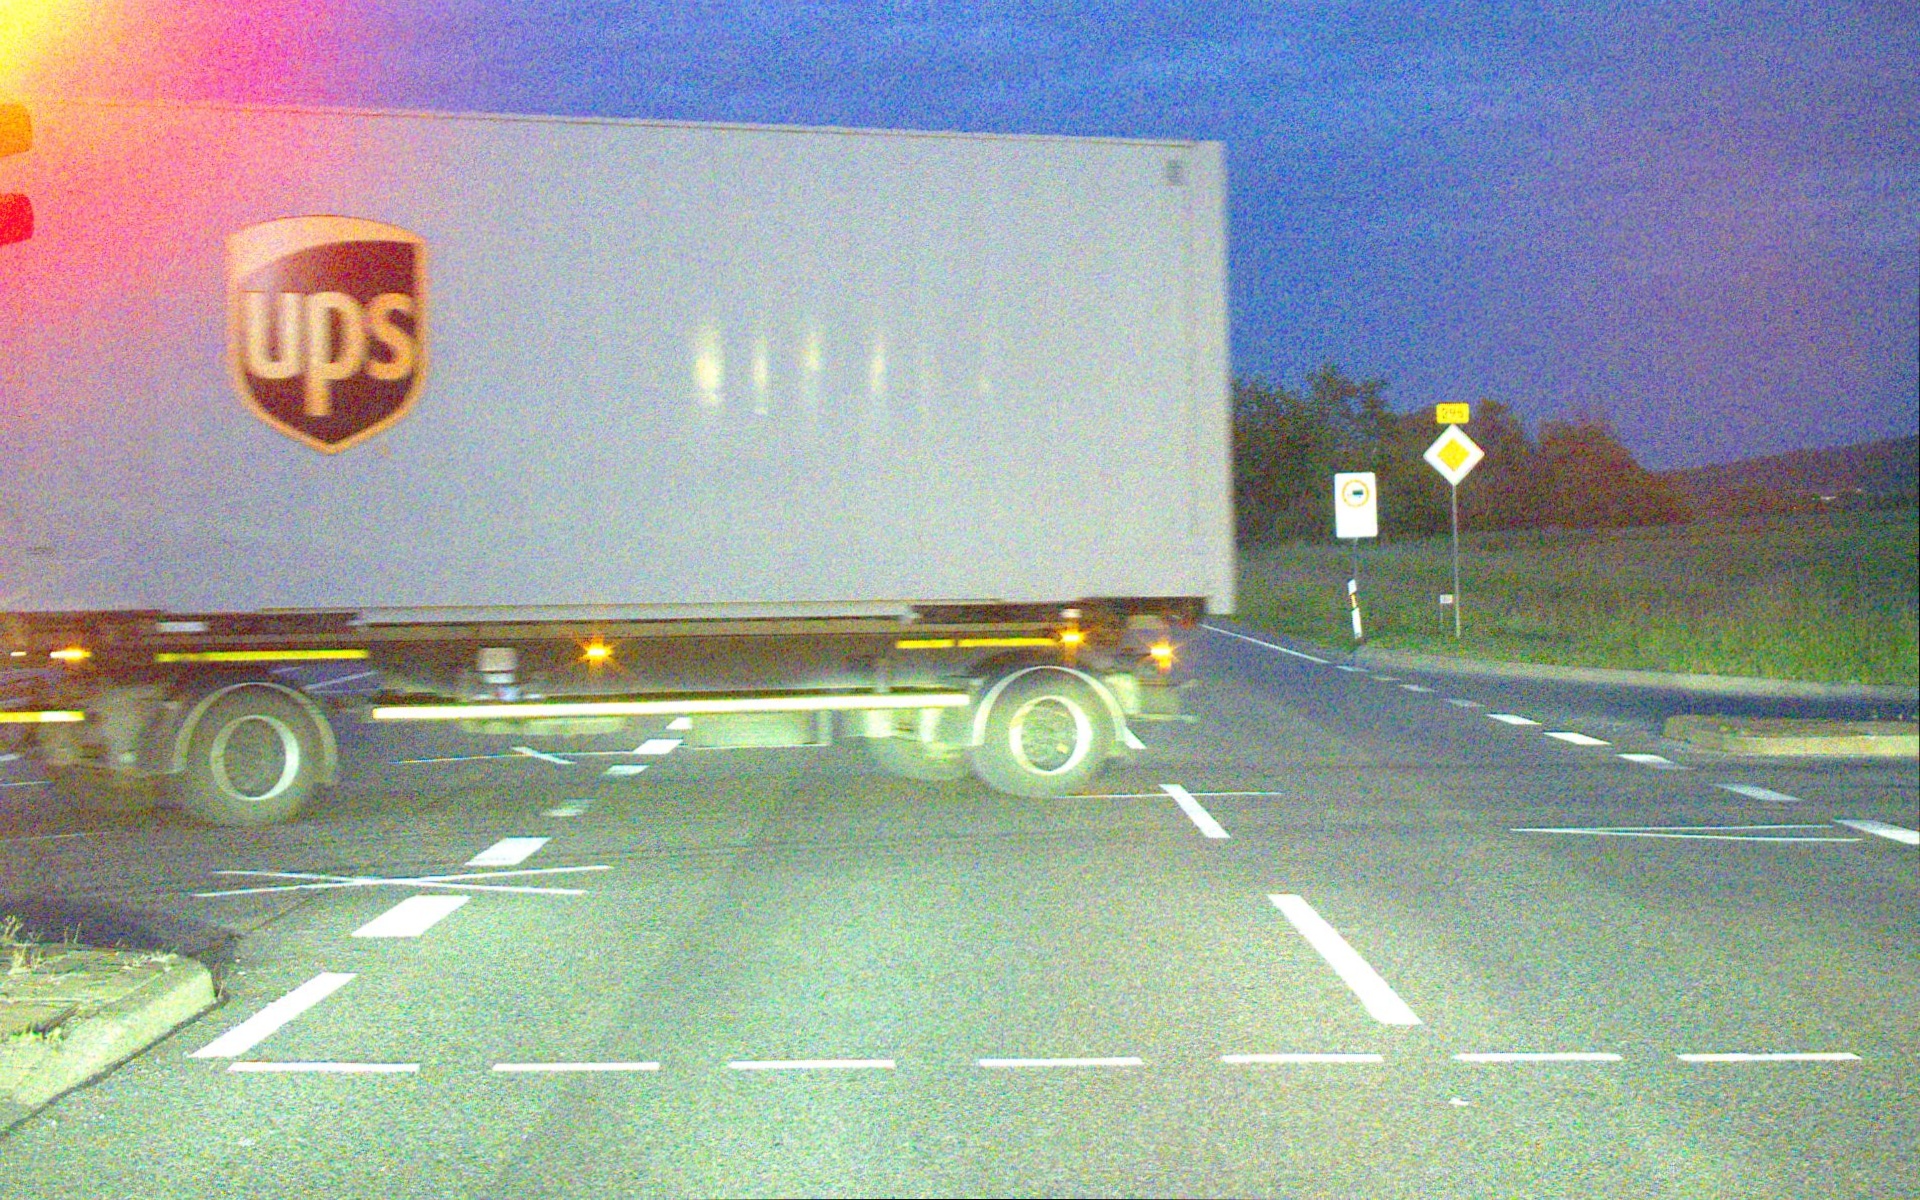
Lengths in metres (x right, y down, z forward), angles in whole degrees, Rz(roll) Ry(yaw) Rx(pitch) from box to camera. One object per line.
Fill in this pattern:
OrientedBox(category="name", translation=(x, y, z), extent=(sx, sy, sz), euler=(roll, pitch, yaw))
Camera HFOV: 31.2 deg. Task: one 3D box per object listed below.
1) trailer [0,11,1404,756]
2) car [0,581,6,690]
OrientedBox(category="trailer", translation=(-1.947, -1.281, 20.654), extent=(8.846, 3.929, 2.586), euler=(-2, 1, -20))
OrientedBox(category="car", translation=(-12.926, 0.460, 41.657), extent=(1.652, 1.380, 4.030), euler=(1, 1, -1))
